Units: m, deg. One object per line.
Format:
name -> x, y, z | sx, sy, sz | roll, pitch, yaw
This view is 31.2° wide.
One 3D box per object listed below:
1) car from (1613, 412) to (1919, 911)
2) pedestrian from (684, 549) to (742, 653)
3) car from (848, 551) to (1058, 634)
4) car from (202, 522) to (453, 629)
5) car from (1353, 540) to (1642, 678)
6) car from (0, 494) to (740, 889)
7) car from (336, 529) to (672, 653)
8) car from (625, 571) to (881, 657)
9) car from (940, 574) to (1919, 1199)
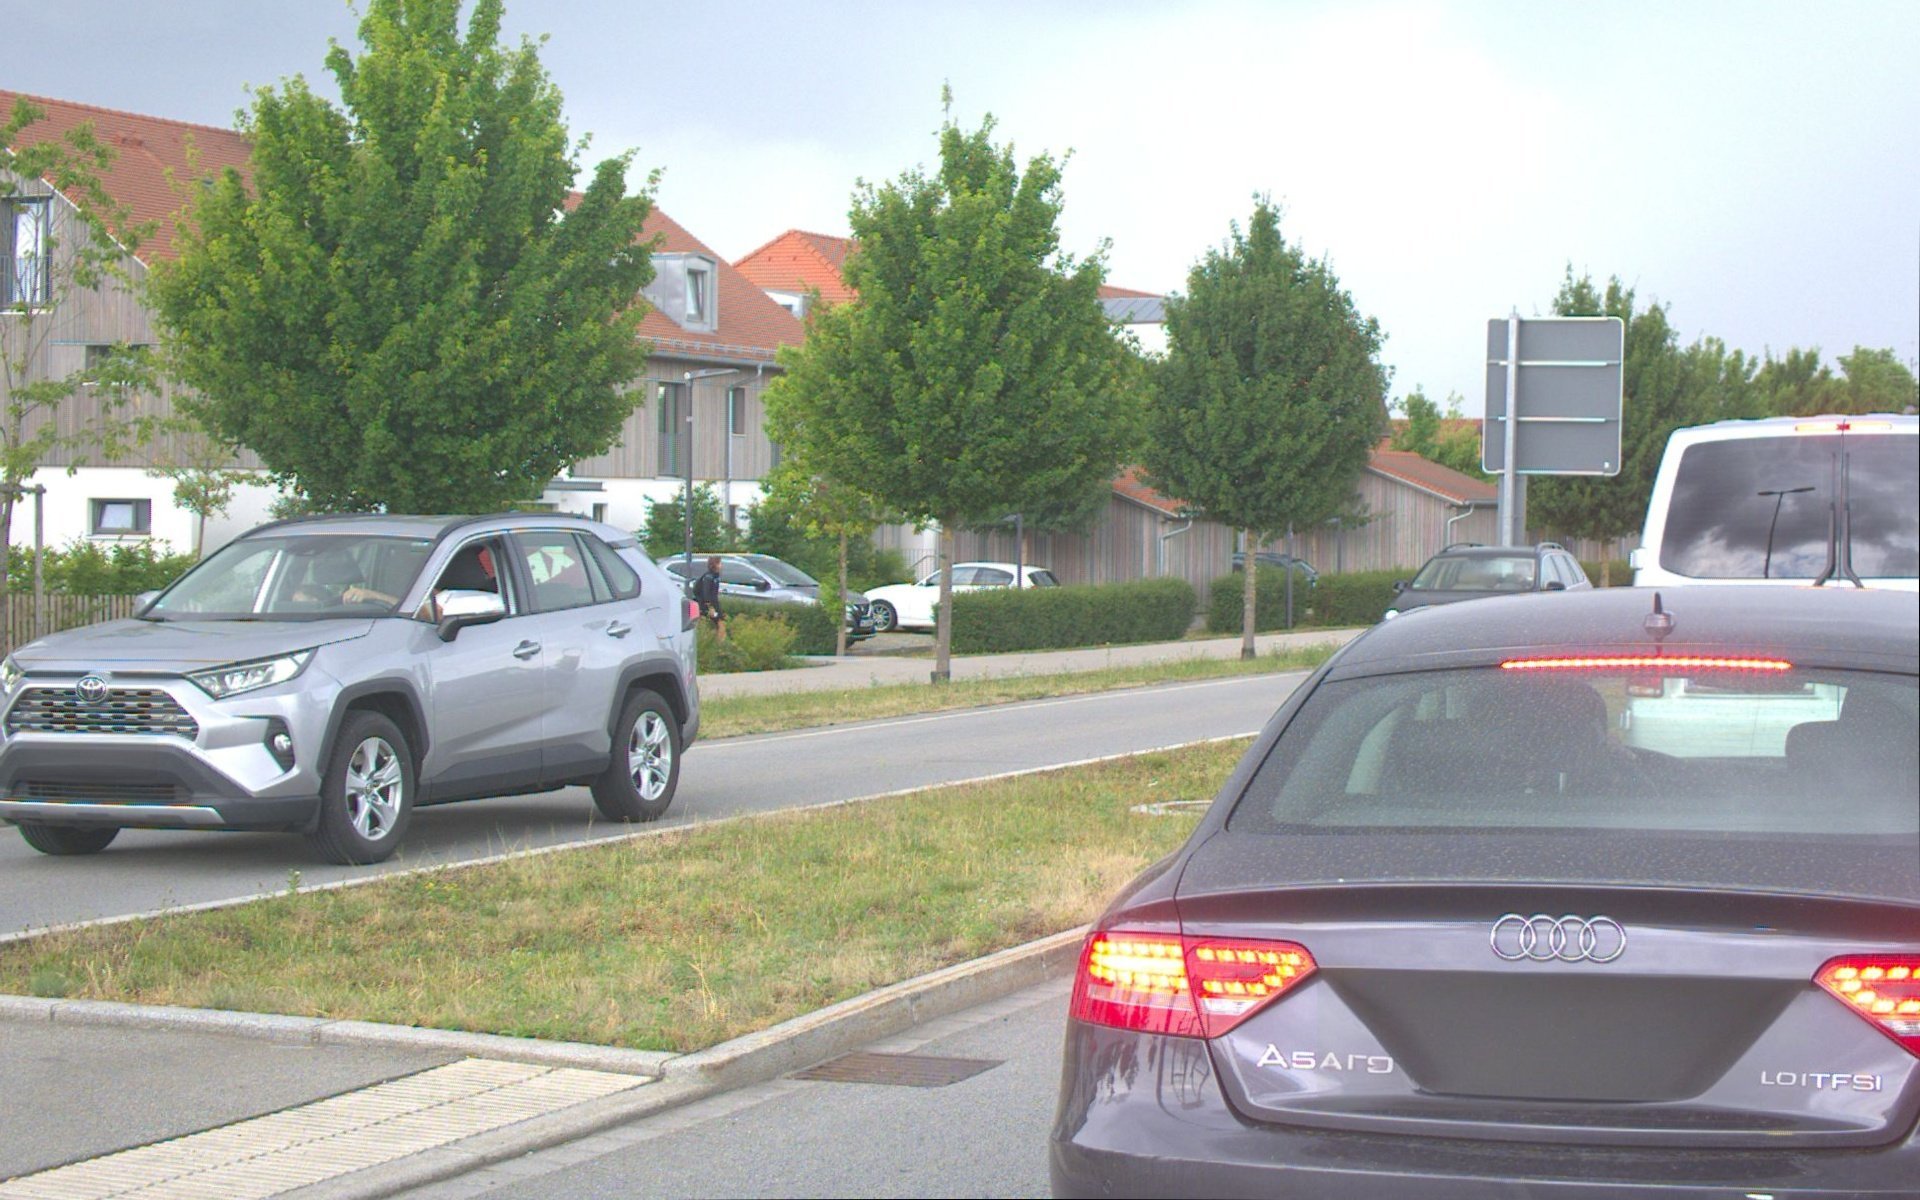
car -> 4.175, 0.204, 15.328 | 1.869, 1.927, 3.996 | 2, 2, 19
pedestrian -> -3.756, 0.015, 52.254 | 0.658, 1.553, 0.582 | 2, 1, 26
car -> -0.130, -0.162, 67.336 | 3.733, 1.477, 1.685 | 2, 2, 20
car -> -11.042, -0.433, 60.296 | 1.996, 1.766, 4.459 | 2, 1, 27
car -> 6.090, 0.056, 38.561 | 1.756, 1.411, 4.448 | 2, 2, 29
car -> -3.017, 0.357, 17.299 | 1.996, 1.698, 4.630 | 0, 1, 22
car -> -6.736, -0.167, 50.758 | 4.537, 1.674, 1.997 | 2, 2, 26
car -> -3.513, 0.214, 58.413 | 3.918, 1.310, 1.841 | 2, 1, 20
car -> 1.514, 0.664, 6.526 | 1.786, 1.387, 4.128 | 0, 1, 20
